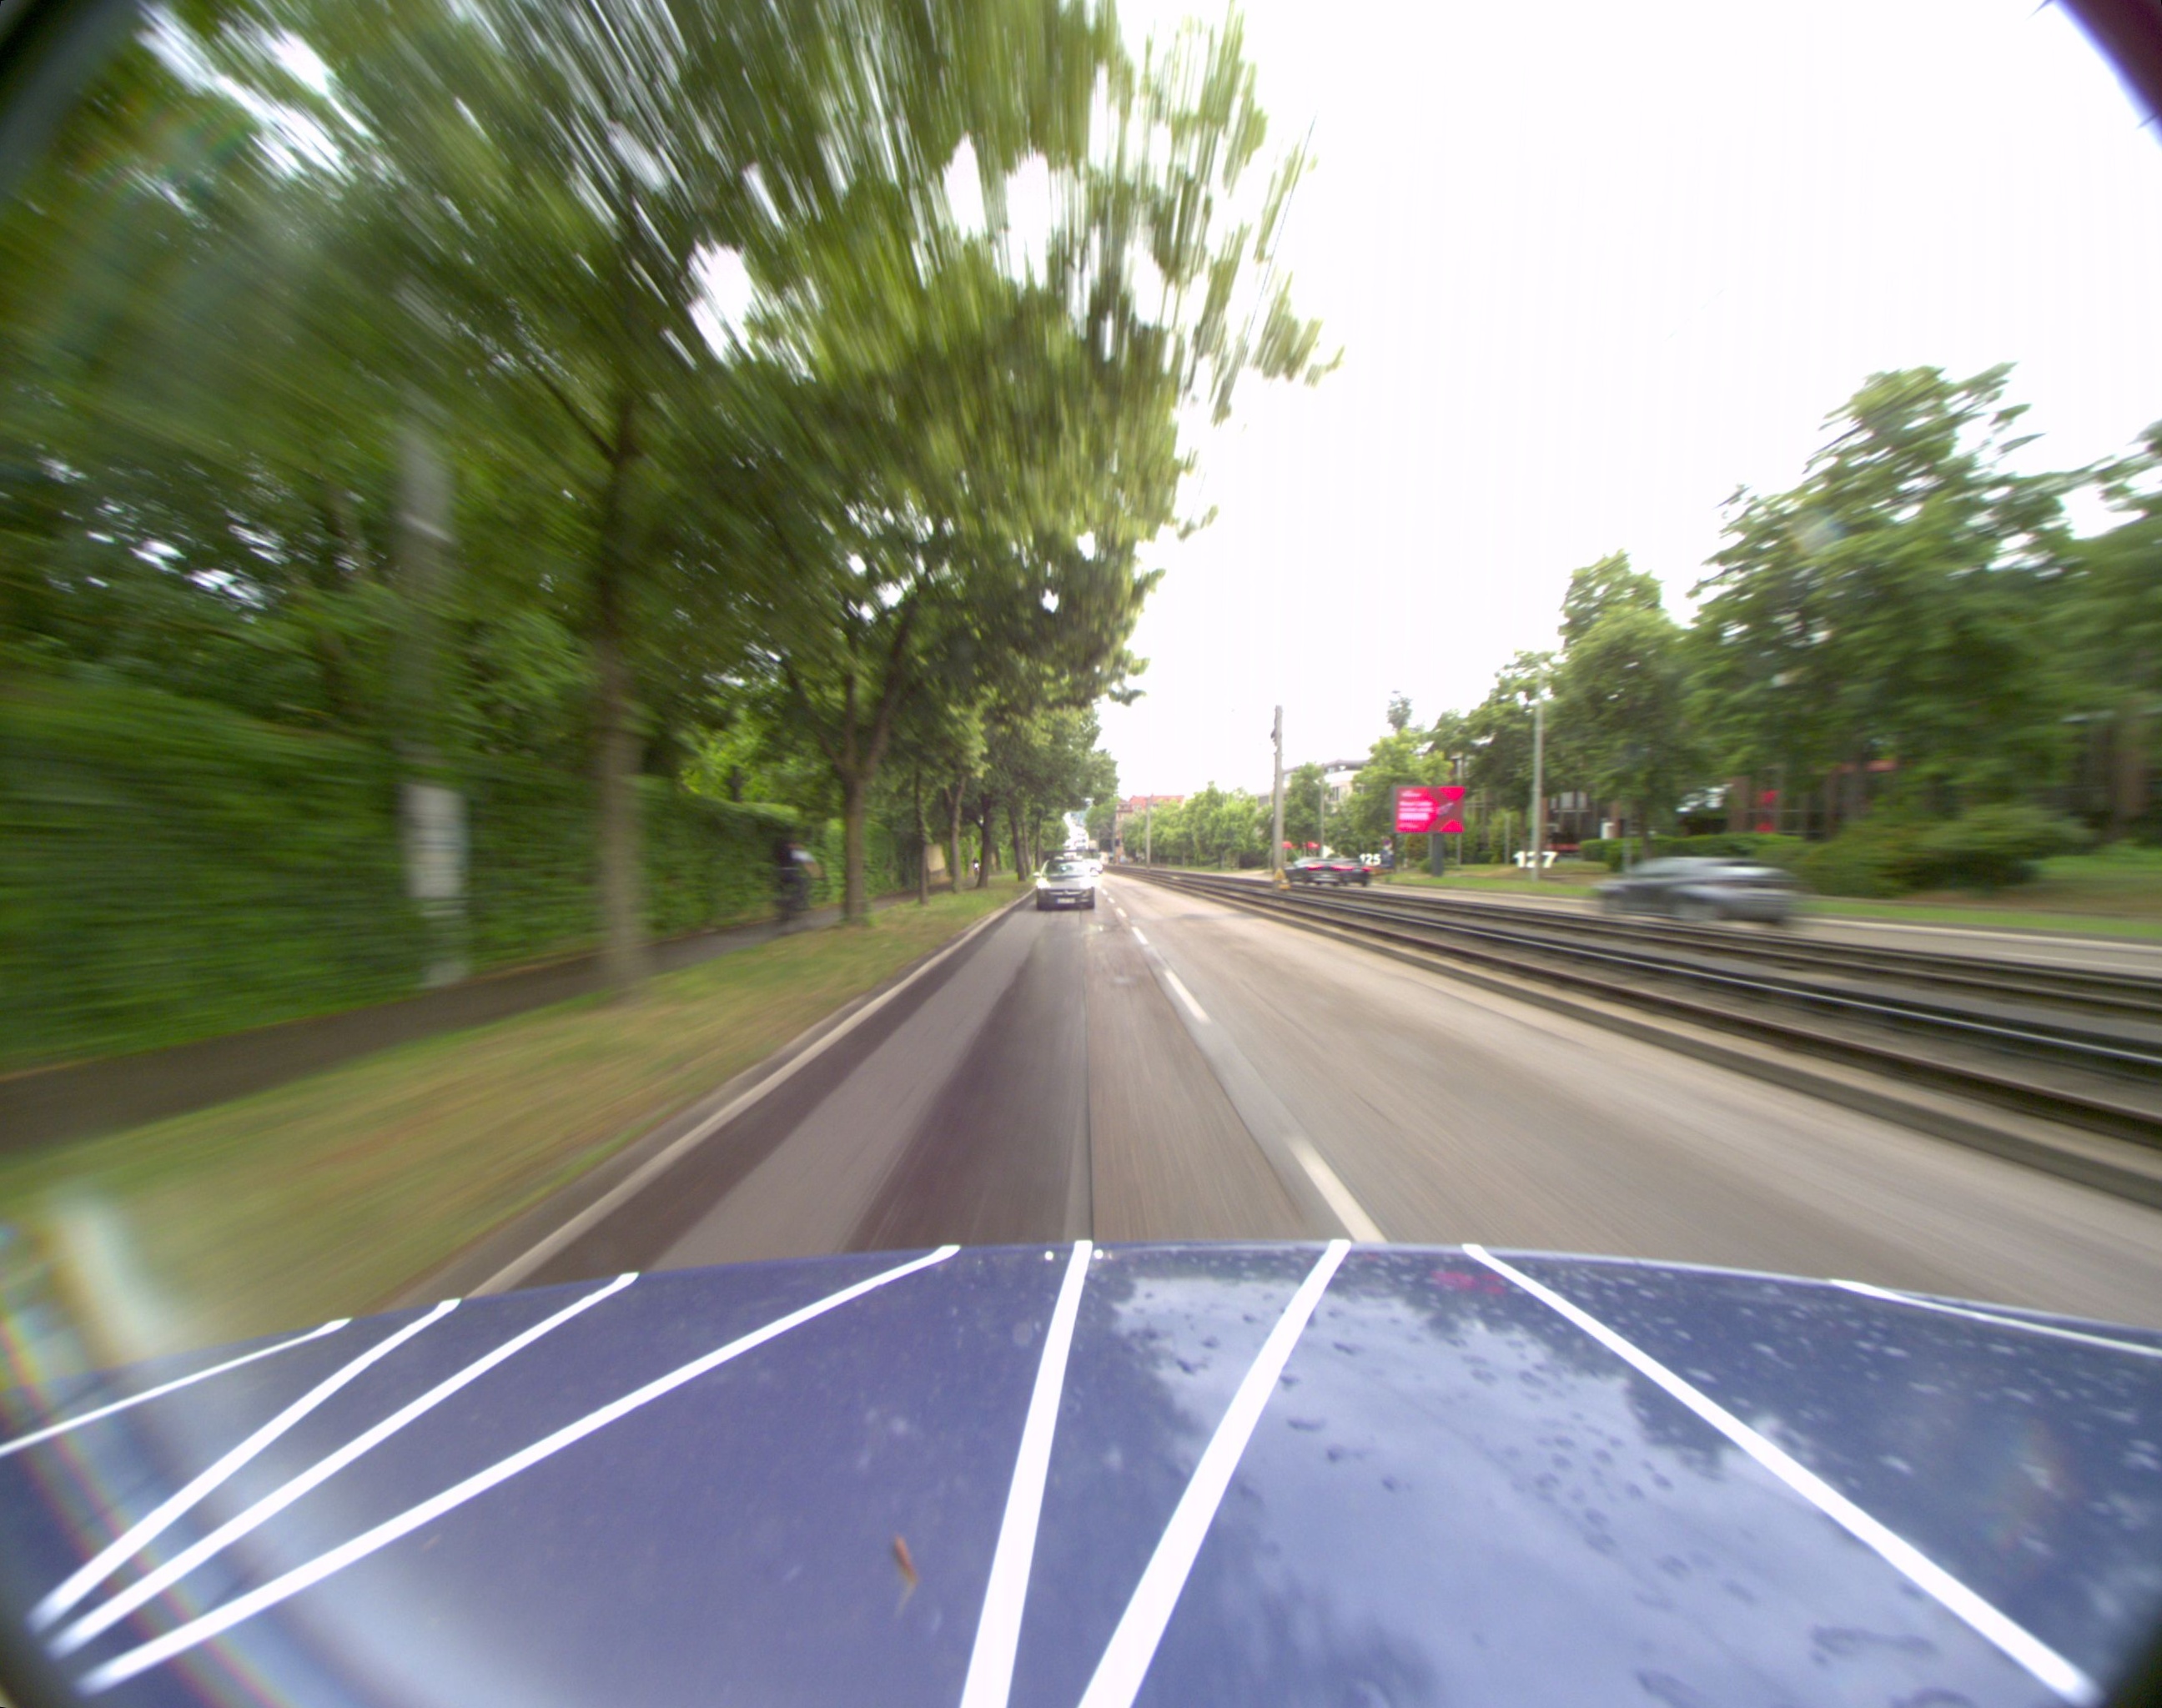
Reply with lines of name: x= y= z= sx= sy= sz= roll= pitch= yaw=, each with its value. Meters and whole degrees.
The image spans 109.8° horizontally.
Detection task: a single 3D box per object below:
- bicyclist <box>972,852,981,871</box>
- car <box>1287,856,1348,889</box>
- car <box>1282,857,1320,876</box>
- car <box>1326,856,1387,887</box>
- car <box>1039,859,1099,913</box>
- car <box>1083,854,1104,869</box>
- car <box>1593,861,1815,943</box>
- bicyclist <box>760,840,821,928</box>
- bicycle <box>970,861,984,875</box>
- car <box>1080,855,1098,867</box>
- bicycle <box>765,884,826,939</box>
bicyclist: x=-7.599 y=0.570 z=55.462 sx=0.536 sy=1.381 sz=0.666 roll=0 pitch=1 yaw=1
car: x=12.465 y=0.936 z=40.330 sx=1.839 sy=1.646 sz=4.238 roll=0 pitch=0 yaw=-1
car: x=17.965 y=0.972 z=62.293 sx=1.799 sy=1.521 sz=4.622 roll=0 pitch=0 yaw=0
car: x=15.794 y=0.971 z=43.841 sx=2.017 sy=1.646 sz=4.617 roll=0 pitch=0 yaw=2
car: x=-0.427 y=0.910 z=23.028 sx=1.658 sy=1.483 sz=3.828 roll=0 pitch=0 yaw=-3
car: x=1.220 y=0.717 z=73.953 sx=1.807 sy=1.483 sz=4.101 roll=0 pitch=0 yaw=-3
car: x=12.762 y=0.909 z=15.895 sx=1.685 sy=1.453 sz=3.608 roll=0 pitch=1 yaw=0
bicyclist: x=-5.481 y=0.555 z=14.379 sx=0.765 sy=1.606 sz=0.998 roll=0 pitch=0 yaw=-1
bicycle: x=-7.586 y=1.027 z=55.458 sx=0.544 sy=0.942 sz=2.549 roll=0 pitch=0 yaw=2
car: x=0.907 y=0.826 z=90.638 sx=1.807 sy=1.483 sz=4.101 roll=0 pitch=0 yaw=-3
bicycle: x=-5.463 y=1.077 z=14.657 sx=0.408 sy=0.897 sz=2.099 roll=0 pitch=0 yaw=-1
